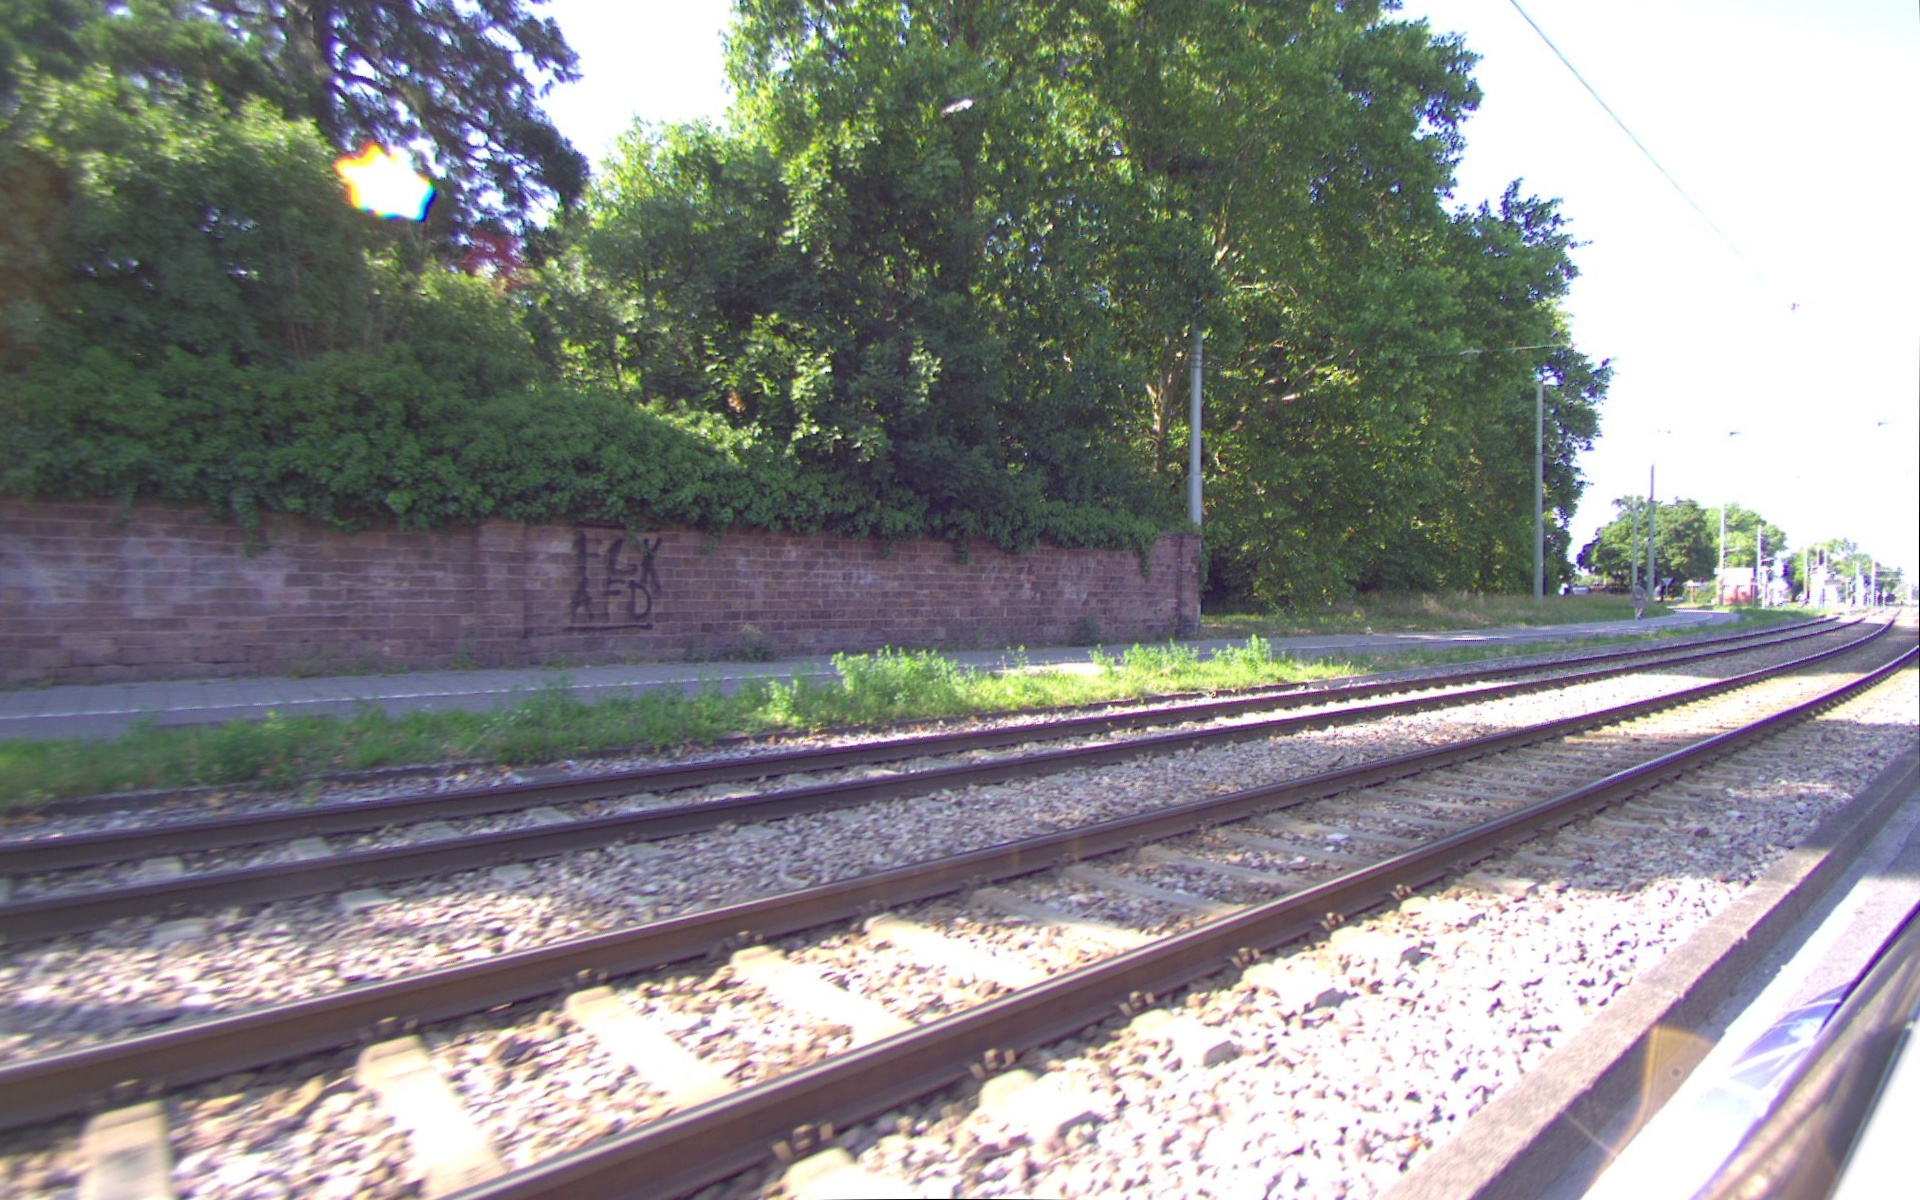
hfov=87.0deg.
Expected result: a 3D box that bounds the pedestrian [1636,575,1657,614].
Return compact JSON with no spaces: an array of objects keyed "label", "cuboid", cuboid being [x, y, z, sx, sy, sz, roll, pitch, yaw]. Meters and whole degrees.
[{"label":"pedestrian","cuboid":[31.041,-0.250,45.776,0.869,1.737,0.501,0,1,-38]}]
